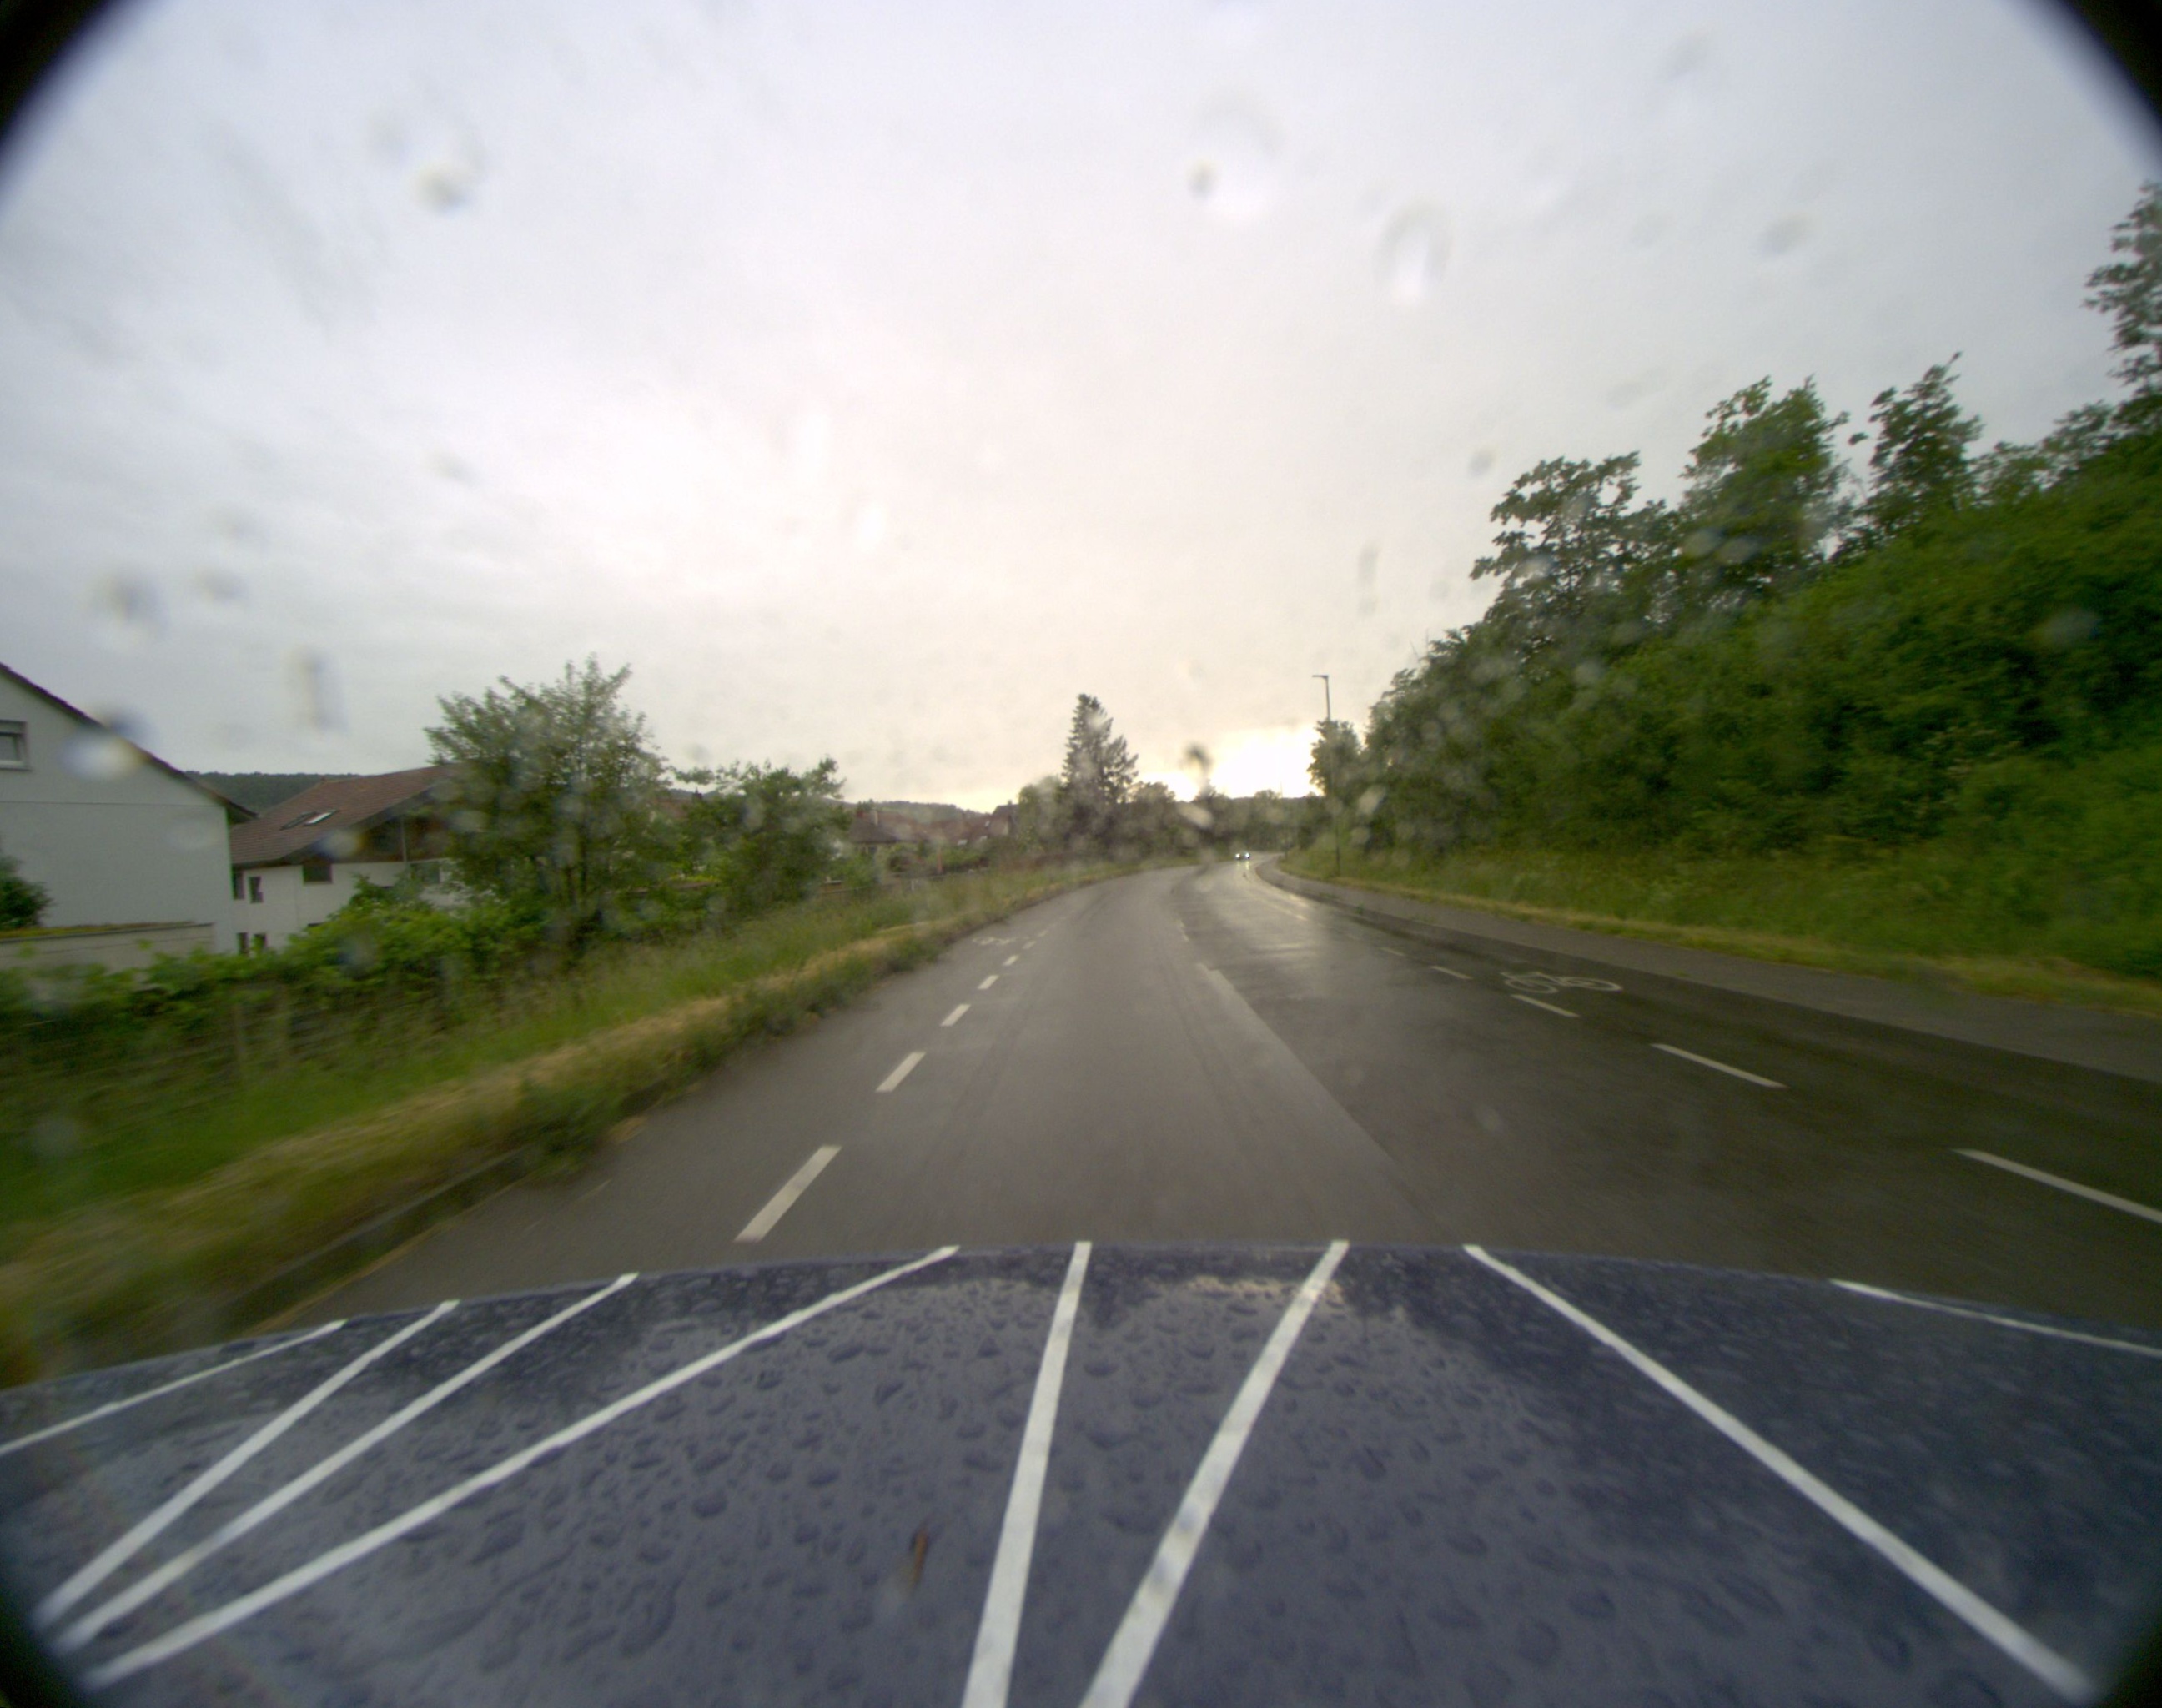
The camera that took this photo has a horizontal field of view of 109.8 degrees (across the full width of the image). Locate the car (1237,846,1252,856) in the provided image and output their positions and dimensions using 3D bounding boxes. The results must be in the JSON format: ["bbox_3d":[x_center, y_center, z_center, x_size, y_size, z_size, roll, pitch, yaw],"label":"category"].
[{"bbox_3d":[26.175,-0.471,121.775,1.877,1.596,4.005,-1,1,18],"label":"car"}]
